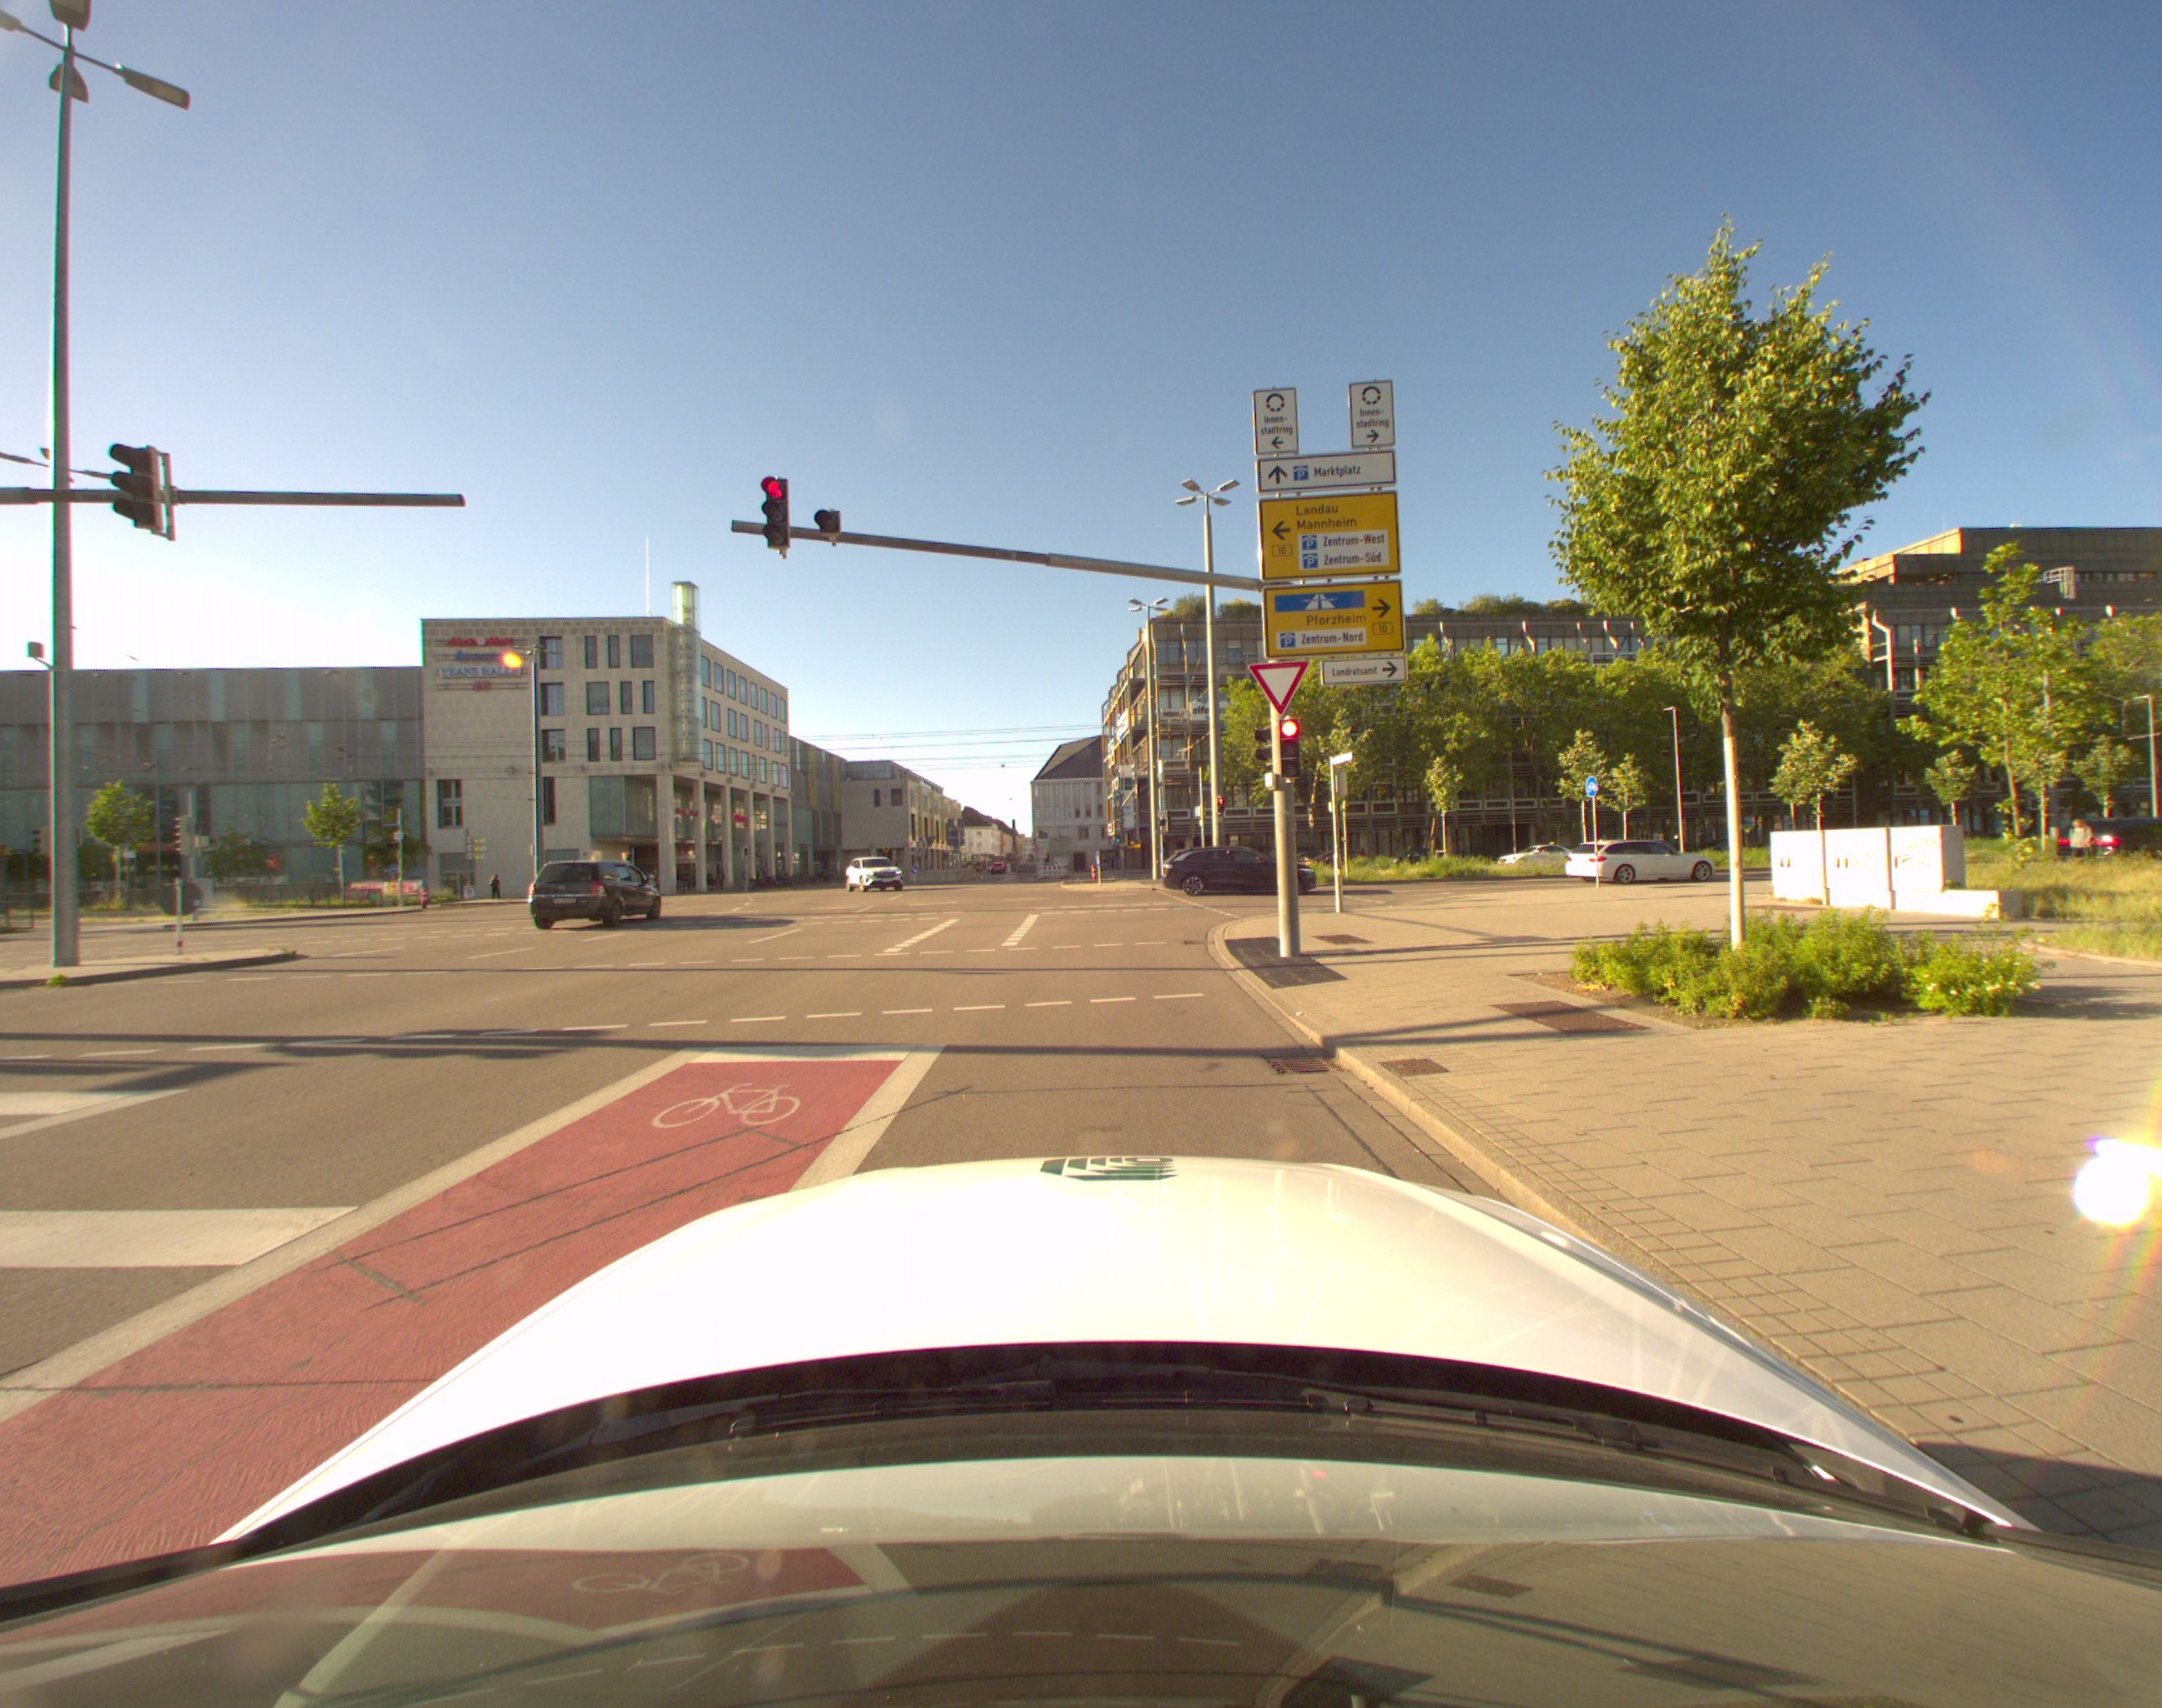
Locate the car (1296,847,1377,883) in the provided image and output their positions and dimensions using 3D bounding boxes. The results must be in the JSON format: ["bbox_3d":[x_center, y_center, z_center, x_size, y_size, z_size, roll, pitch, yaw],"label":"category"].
[{"bbox_3d":[14.454,0.622,46.205,3.975,2.014,1.999,0,-1,-1],"label":"car"}]

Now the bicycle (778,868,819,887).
[{"bbox_3d":[-27.044,2.220,78.063,3.491,1.696,0.984,-2,0,-10],"label":"bicycle"}]

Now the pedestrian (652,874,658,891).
[{"bbox_3d":[-37.327,2.504,71.314,0.389,1.426,0.498,-2,0,-31],"label":"pedestrian"}]

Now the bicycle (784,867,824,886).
[{"bbox_3d":[-27.248,2.244,80.159,3.491,1.696,0.984,-2,0,-10],"label":"bicycle"}]

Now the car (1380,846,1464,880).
[{"bbox_3d":[21.406,0.563,51.244,4.435,2.014,1.998,0,-1,-4],"label":"car"}]

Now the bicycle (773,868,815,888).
[{"bbox_3d":[-26.680,2.190,75.758,3.491,1.696,0.984,-2,0,-10],"label":"bicycle"}]

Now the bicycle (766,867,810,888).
[{"bbox_3d":[-26.319,2.125,73.171,3.488,1.696,1.114,-2,0,-7],"label":"bicycle"}]

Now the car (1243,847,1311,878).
[{"bbox_3d":[12.841,0.564,53.620,3.975,2.014,1.999,0,-1,-1],"label":"car"}]

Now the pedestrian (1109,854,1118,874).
[{"bbox_3d":[2.740,0.853,69.450,0.661,1.658,0.755,-2,0,-1],"label":"pedestrian"}]

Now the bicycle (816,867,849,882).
[{"bbox_3d":[-28.290,2.340,92.775,3.491,1.527,0.984,-2,0,-10],"label":"bicycle"}]

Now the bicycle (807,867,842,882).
[{"bbox_3d":[-27.922,2.223,88.575,3.491,1.527,0.984,-2,0,-10],"label":"bicycle"}]

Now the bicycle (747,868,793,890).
[{"bbox_3d":[-26.910,2.154,70.509,3.488,1.696,1.114,-2,0,-7],"label":"bicycle"}]

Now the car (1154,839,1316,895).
[{"bbox_3d":[4.919,0.425,26.326,4.908,1.602,2.005,-2,-1,9],"label":"car"}]

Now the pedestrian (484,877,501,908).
[{"bbox_3d":[-32.877,2.144,45.498,0.523,1.694,0.548,-2,0,1],"label":"pedestrian"}]

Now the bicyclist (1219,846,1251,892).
[{"bbox_3d":[8.887,0.859,47.067,1.566,2.580,0.929,-2,0,-7],"label":"bicyclist"}]

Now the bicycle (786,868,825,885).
[{"bbox_3d":[-27.409,2.237,81.156,3.491,1.527,0.984,-2,0,-10],"label":"bicycle"}]

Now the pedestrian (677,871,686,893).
[{"bbox_3d":[-30.411,2.161,62.004,0.542,1.642,0.547,-2,0,-19],"label":"pedestrian"}]

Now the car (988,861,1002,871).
[{"bbox_3d":[-14.985,2.122,142.036,1.988,1.660,4.402,-3,-1,-2],"label":"car"}]

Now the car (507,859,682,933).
[{"bbox_3d":[-12.168,0.963,20.786,1.990,1.607,4.474,-1,0,-4],"label":"car"}]

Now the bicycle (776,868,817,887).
[{"bbox_3d":[-26.856,2.209,76.854,3.491,1.696,0.984,-2,0,-10],"label":"bicycle"}]

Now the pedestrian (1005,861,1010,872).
[{"bbox_3d":[-9.774,1.710,108.964,0.608,1.411,0.569,-2,0,-5],"label":"pedestrian"}]

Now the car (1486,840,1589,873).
[{"bbox_3d":[28.894,0.145,51.651,5.424,2.014,2.097,0,-1,-1],"label":"car"}]

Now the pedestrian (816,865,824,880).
[{"bbox_3d":[-30.000,2.151,93.680,0.652,1.642,0.693,-2,0,-7],"label":"pedestrian"}]

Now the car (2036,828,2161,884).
[{"bbox_3d":[37.295,0.036,29.102,4.469,1.758,1.995,-2,1,-8],"label":"car"}]

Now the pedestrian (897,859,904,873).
[{"bbox_3d":[-26.534,1.718,119.722,0.623,2.013,0.734,-2,0,4],"label":"pedestrian"}]

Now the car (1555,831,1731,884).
[{"bbox_3d":[18.714,0.108,27.235,4.681,1.528,1.996,-2,0,-6],"label":"car"}]

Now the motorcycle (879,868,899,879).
[{"bbox_3d":[-23.541,2.377,99.796,2.269,1.318,0.719,-2,0,-4],"label":"motorcycle"}]

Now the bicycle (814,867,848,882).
[{"bbox_3d":[-28.173,2.303,91.745,3.491,1.527,0.984,-2,0,-10],"label":"bicycle"}]

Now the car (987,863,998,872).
[{"bbox_3d":[-18.318,2.848,168.984,1.752,1.783,3.997,-2,0,-2],"label":"car"}]

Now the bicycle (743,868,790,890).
[{"bbox_3d":[-26.731,2.106,69.290,3.488,1.696,1.114,-2,0,-7],"label":"bicycle"}]

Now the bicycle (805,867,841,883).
[{"bbox_3d":[-27.653,2.223,87.446,3.491,1.527,0.984,-2,0,-10],"label":"bicycle"}]

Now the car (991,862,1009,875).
[{"bbox_3d":[-10.791,1.893,108.858,2.195,1.607,4.320,-2,0,-4],"label":"car"}]

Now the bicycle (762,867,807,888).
[{"bbox_3d":[-26.143,2.079,71.951,3.488,1.696,1.114,-2,0,-7],"label":"bicycle"}]

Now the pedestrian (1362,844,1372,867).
[{"bbox_3d":[21.317,0.114,60.698,0.538,1.669,0.537,-2,0,-1],"label":"pedestrian"}]

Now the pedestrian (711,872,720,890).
[{"bbox_3d":[-32.146,2.394,71.663,0.480,1.510,0.513,-2,0,-3],"label":"pedestrian"}]

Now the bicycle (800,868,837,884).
[{"bbox_3d":[-27.548,2.302,85.577,3.491,1.527,0.984,-2,0,-10],"label":"bicycle"}]

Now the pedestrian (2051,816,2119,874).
[{"bbox_3d":[29.105,-0.254,23.614,0.801,1.630,0.939,-2,0,-12],"label":"pedestrian"}]

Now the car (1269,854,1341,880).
[{"bbox_3d":[13.853,0.785,50.472,3.976,1.508,1.867,-1,0,-2],"label":"car"}]

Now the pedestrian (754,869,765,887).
[{"bbox_3d":[-30.288,2.295,76.733,0.784,1.642,0.693,-2,0,-8],"label":"pedestrian"}]

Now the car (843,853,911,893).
[{"bbox_3d":[-9.635,0.848,38.214,2.005,1.660,4.365,-2,1,-29],"label":"car"}]

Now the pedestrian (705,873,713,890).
[{"bbox_3d":[-32.466,2.385,71.078,0.510,1.510,0.513,-2,0,-3],"label":"pedestrian"}]
